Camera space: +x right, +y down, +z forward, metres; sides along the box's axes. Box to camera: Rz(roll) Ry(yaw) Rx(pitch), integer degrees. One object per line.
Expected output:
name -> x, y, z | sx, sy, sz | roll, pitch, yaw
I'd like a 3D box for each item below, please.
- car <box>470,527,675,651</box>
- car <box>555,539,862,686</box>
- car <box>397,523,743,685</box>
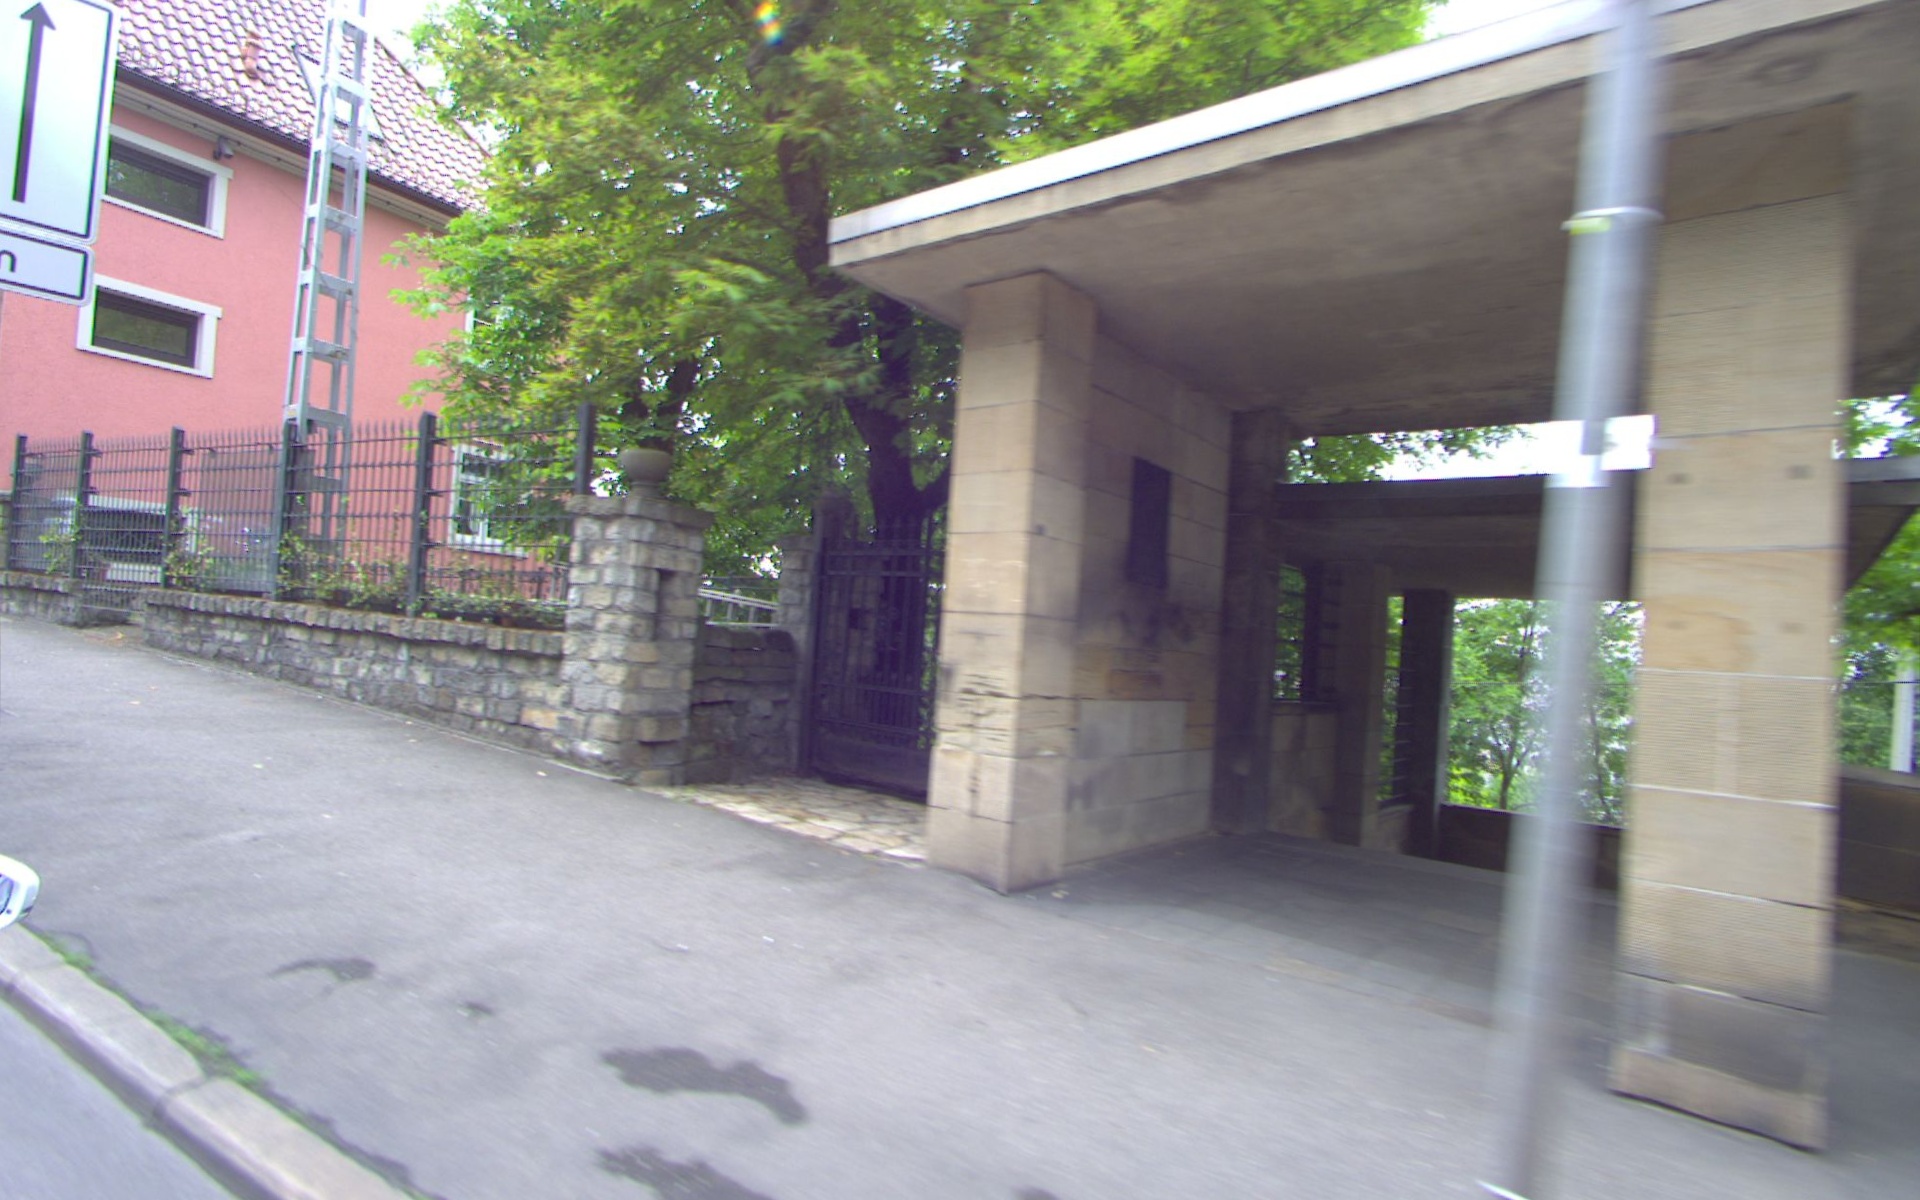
car -> -6.427, -0.189, 16.637 | 3.094, 1.701, 1.438 | 5, -3, 32
car -> -3.645, 0.160, 14.449 | 3.934, 1.525, 1.996 | 7, -1, 33
car -> -4.922, 0.035, 12.587 | 3.934, 1.439, 1.996 | 7, -1, 33
